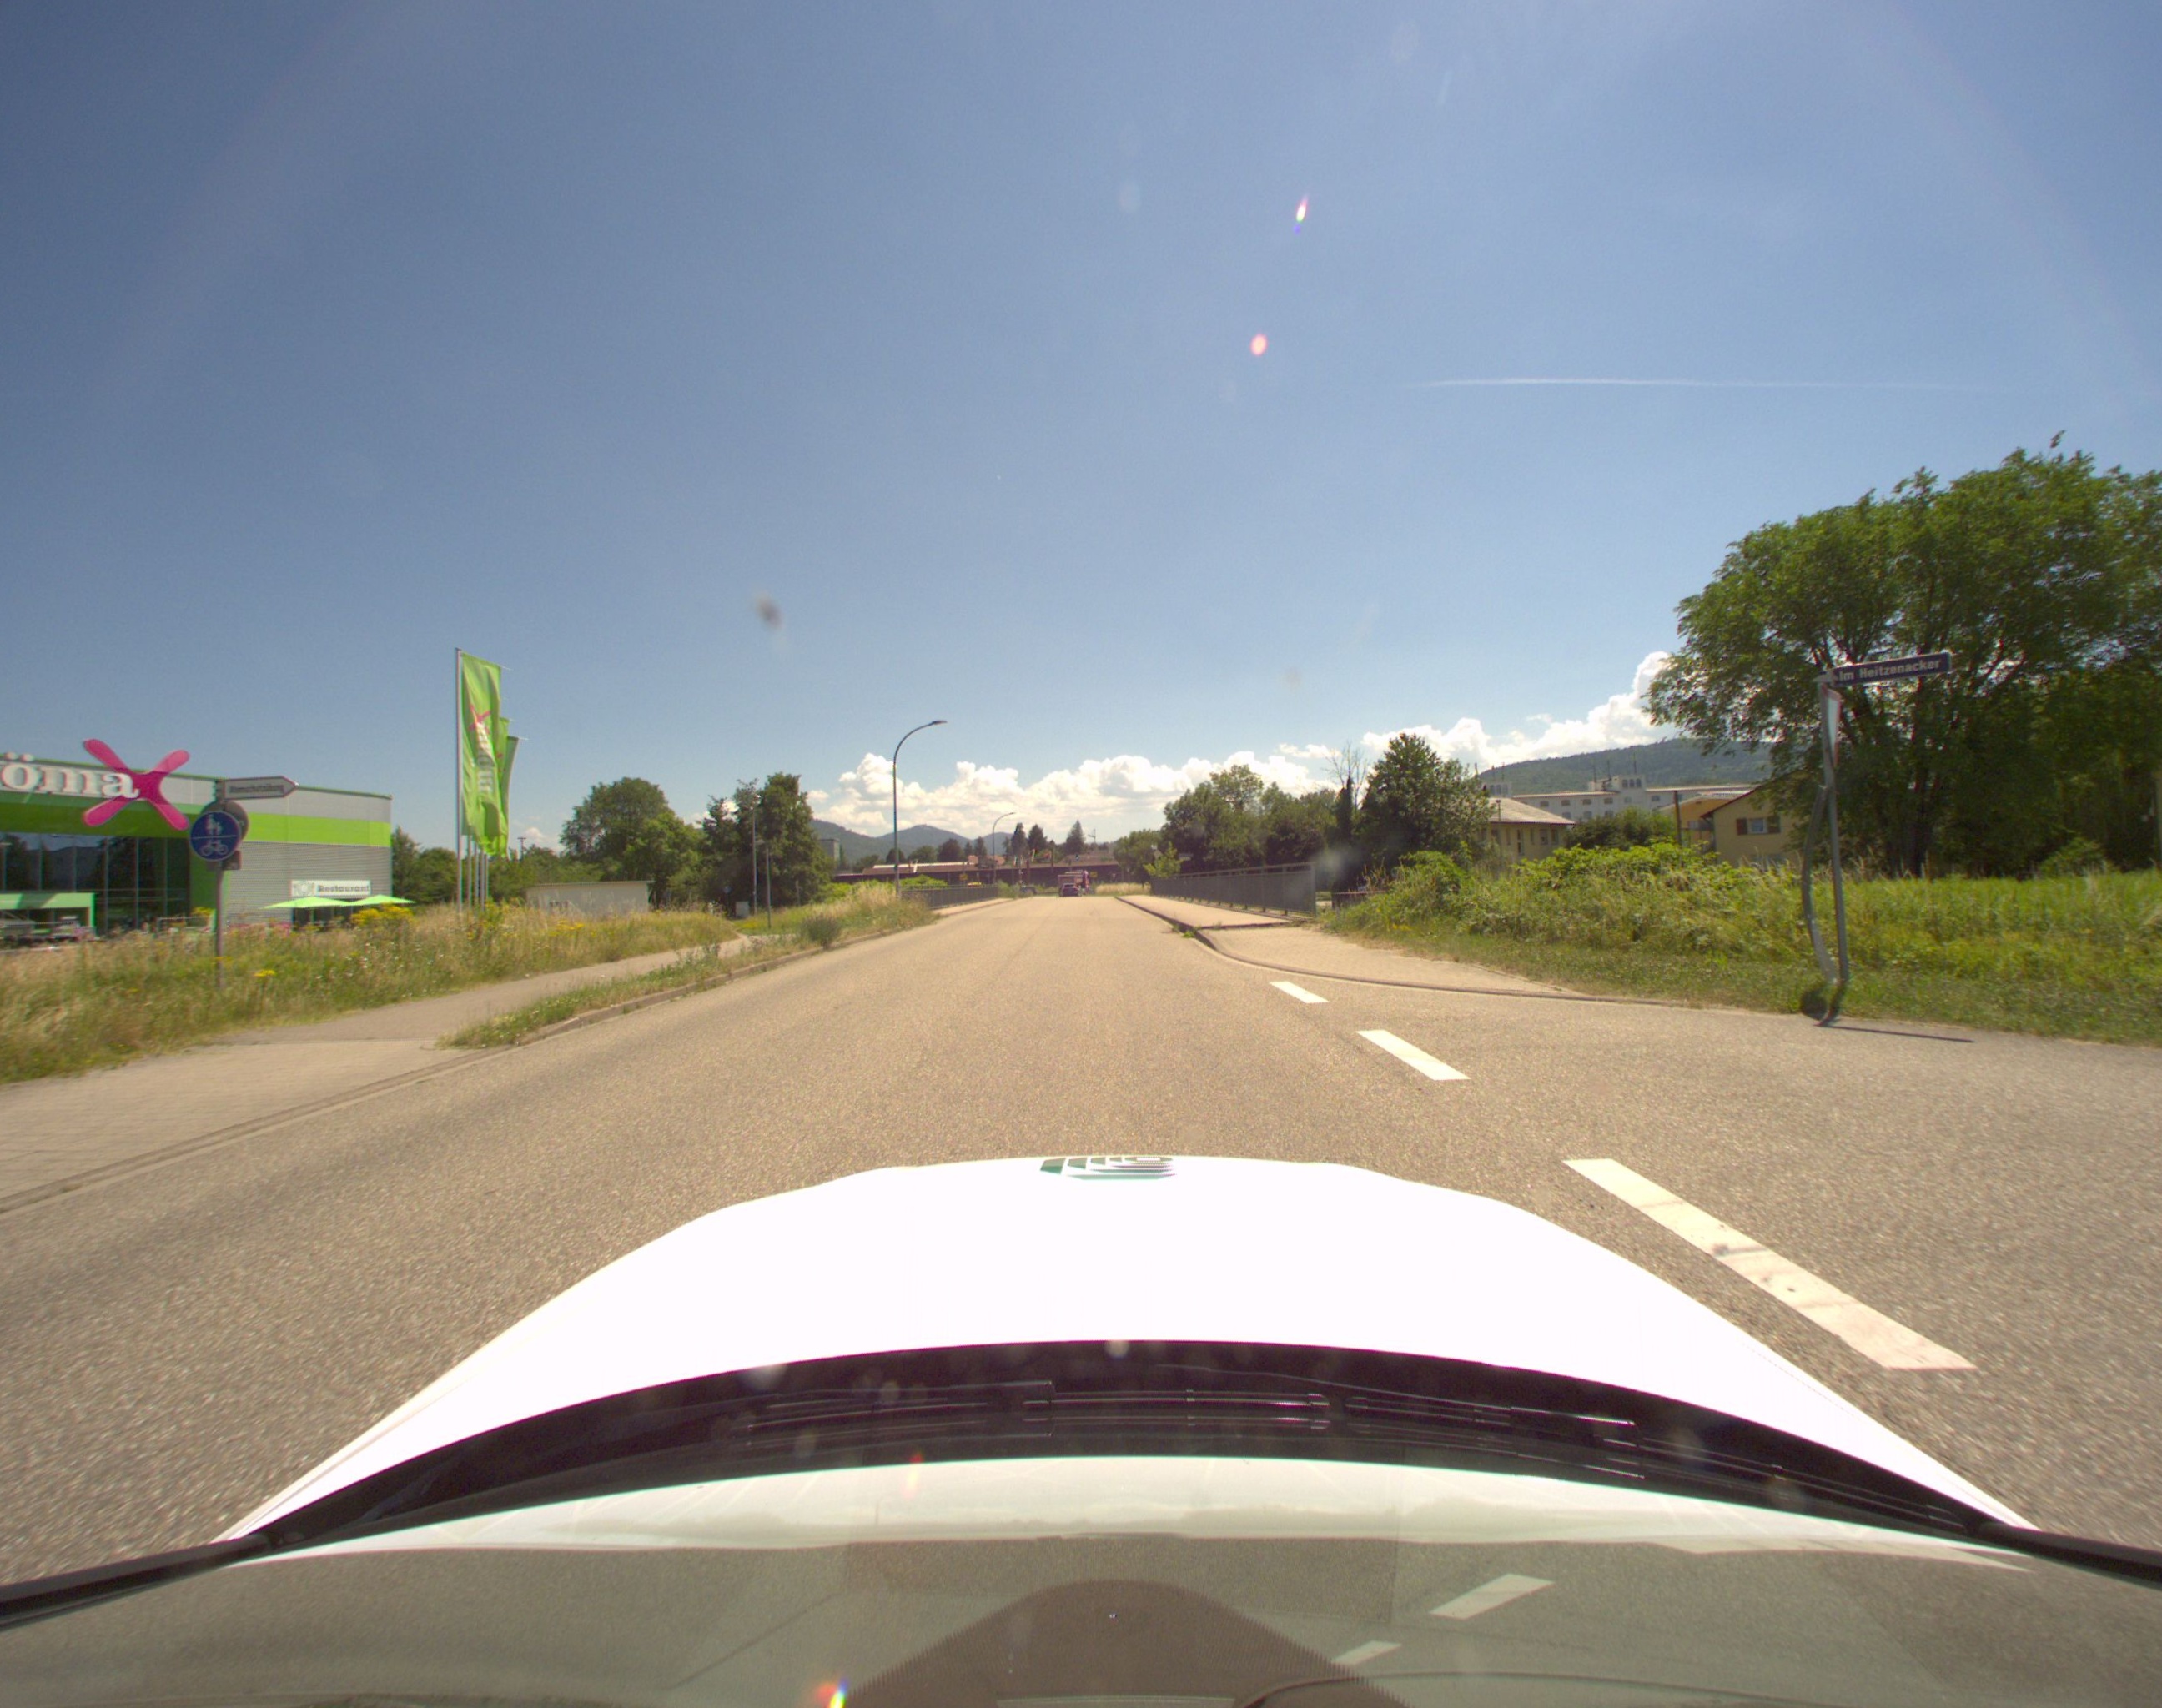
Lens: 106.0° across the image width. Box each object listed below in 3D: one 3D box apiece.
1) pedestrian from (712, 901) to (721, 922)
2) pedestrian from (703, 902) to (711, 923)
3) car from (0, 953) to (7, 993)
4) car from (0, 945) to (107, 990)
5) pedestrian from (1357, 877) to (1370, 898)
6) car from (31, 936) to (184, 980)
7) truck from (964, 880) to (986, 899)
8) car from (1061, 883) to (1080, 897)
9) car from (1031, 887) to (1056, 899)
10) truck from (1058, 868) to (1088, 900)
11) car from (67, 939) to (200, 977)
[{"bbox_3d":[-30.526,4.819,68.217,0.629,1.674,0.594,1,-3,-21],"label":"pedestrian"},{"bbox_3d":[-30.859,4.804,67.217,0.515,1.674,0.624,1,-3,-22],"label":"pedestrian"},{"bbox_3d":[-40.758,4.298,28.447,3.970,1.410,2.001,-1,-1,3],"label":"car"},{"bbox_3d":[-40.205,4.291,30.974,3.970,1.416,2.001,-1,-1,3],"label":"car"},{"bbox_3d":[19.854,2.341,57.268,0.676,1.393,0.853,-4,1,12],"label":"pedestrian"},{"bbox_3d":[-39.933,4.261,33.479,3.970,1.513,2.001,-1,-1,3],"label":"car"},{"bbox_3d":[-15.132,5.070,115.814,2.312,2.338,9.013,-4,-3,-11],"label":"truck"},{"bbox_3d":[-1.185,3.944,89.621,1.989,1.503,3.996,-1,-2,-3],"label":"car"},{"bbox_3d":[-6.303,6.635,137.543,3.973,1.702,1.909,-2,1,1],"label":"car"},{"bbox_3d":[-1.037,4.329,115.850,2.982,4.181,11.820,-2,-3,5],"label":"truck"},{"bbox_3d":[-44.416,4.866,38.240,3.970,1.513,2.001,-1,-1,3],"label":"car"}]
